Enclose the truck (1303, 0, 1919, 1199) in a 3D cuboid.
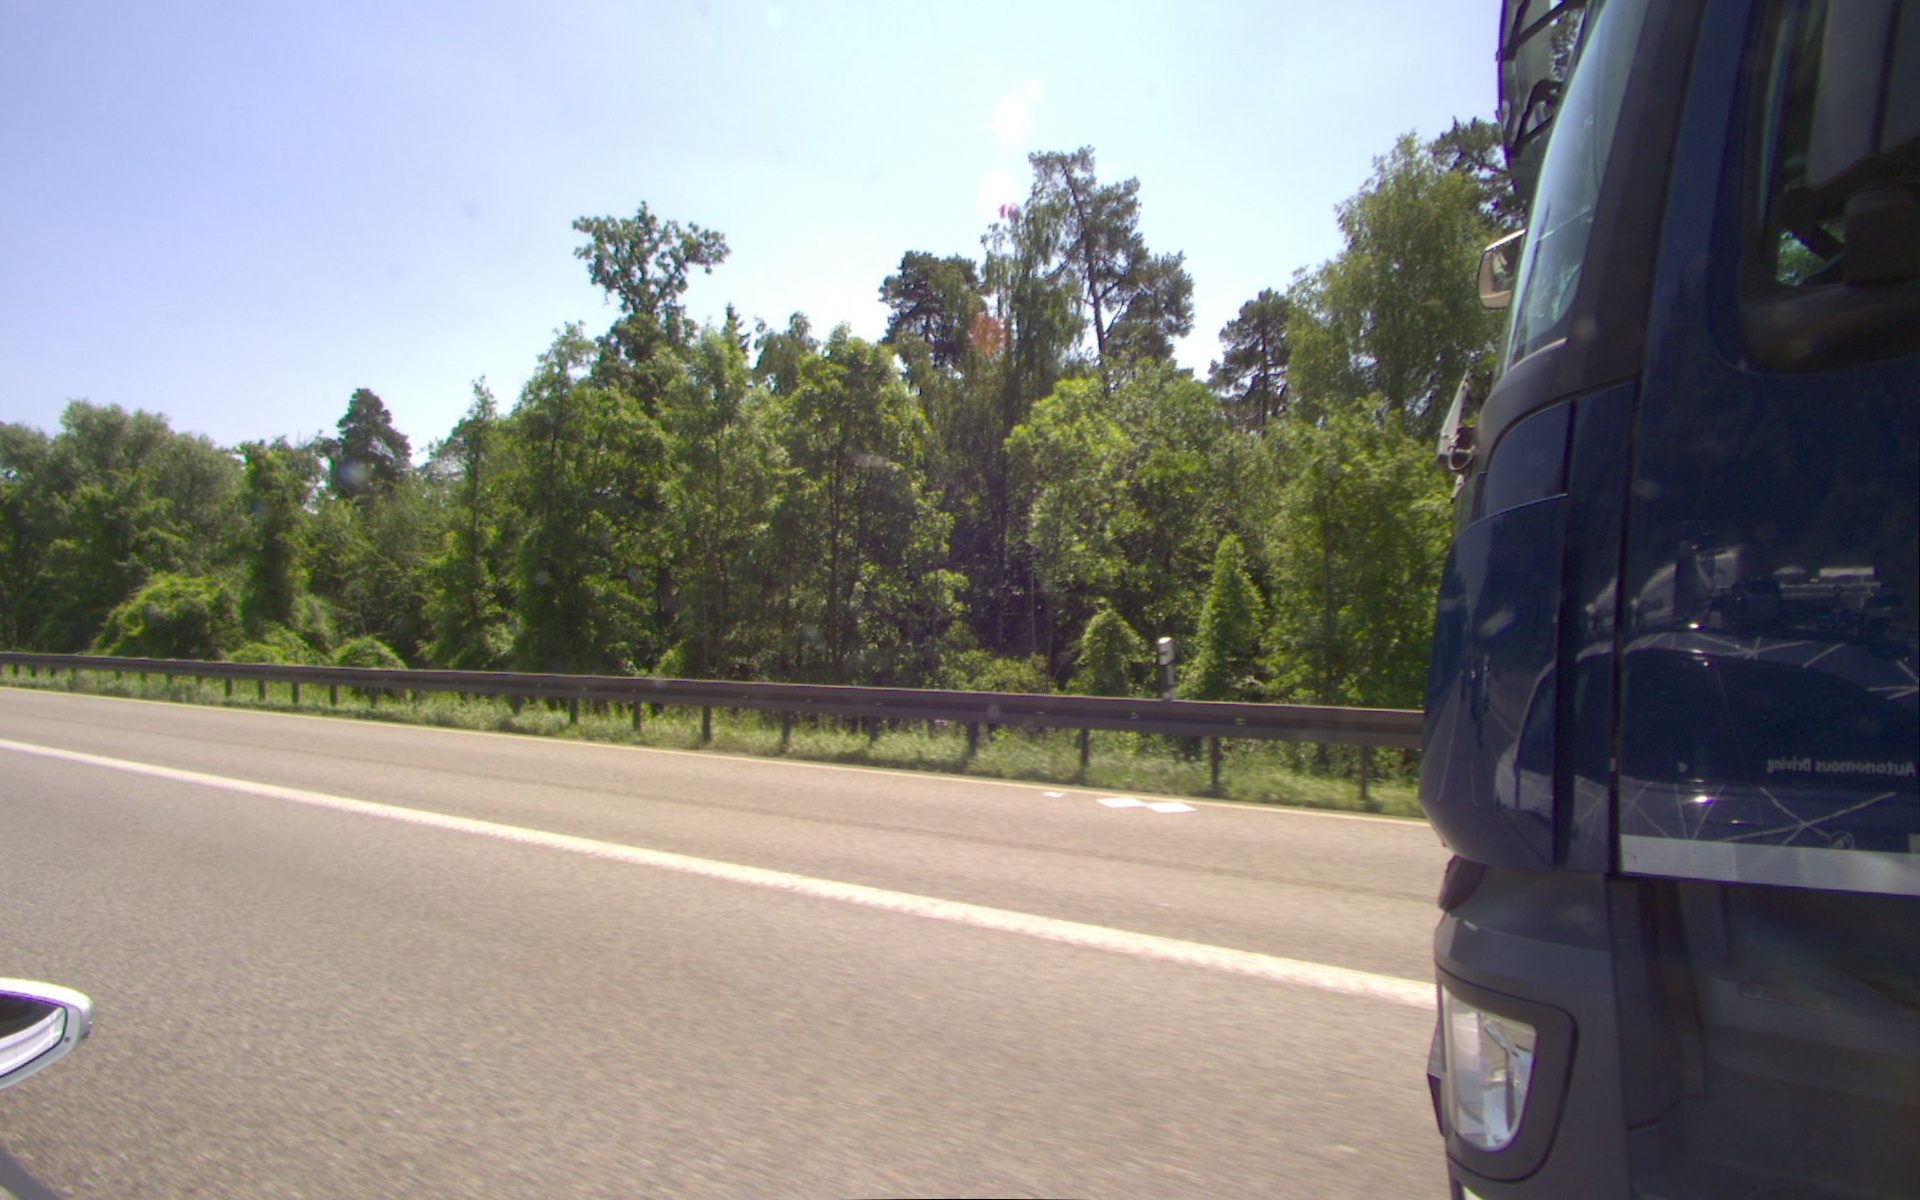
[{"bbox_3d":[2.889,0.006,1.429,4.047,2.979,2.550,-2,-1,33],"label":"truck"}]
